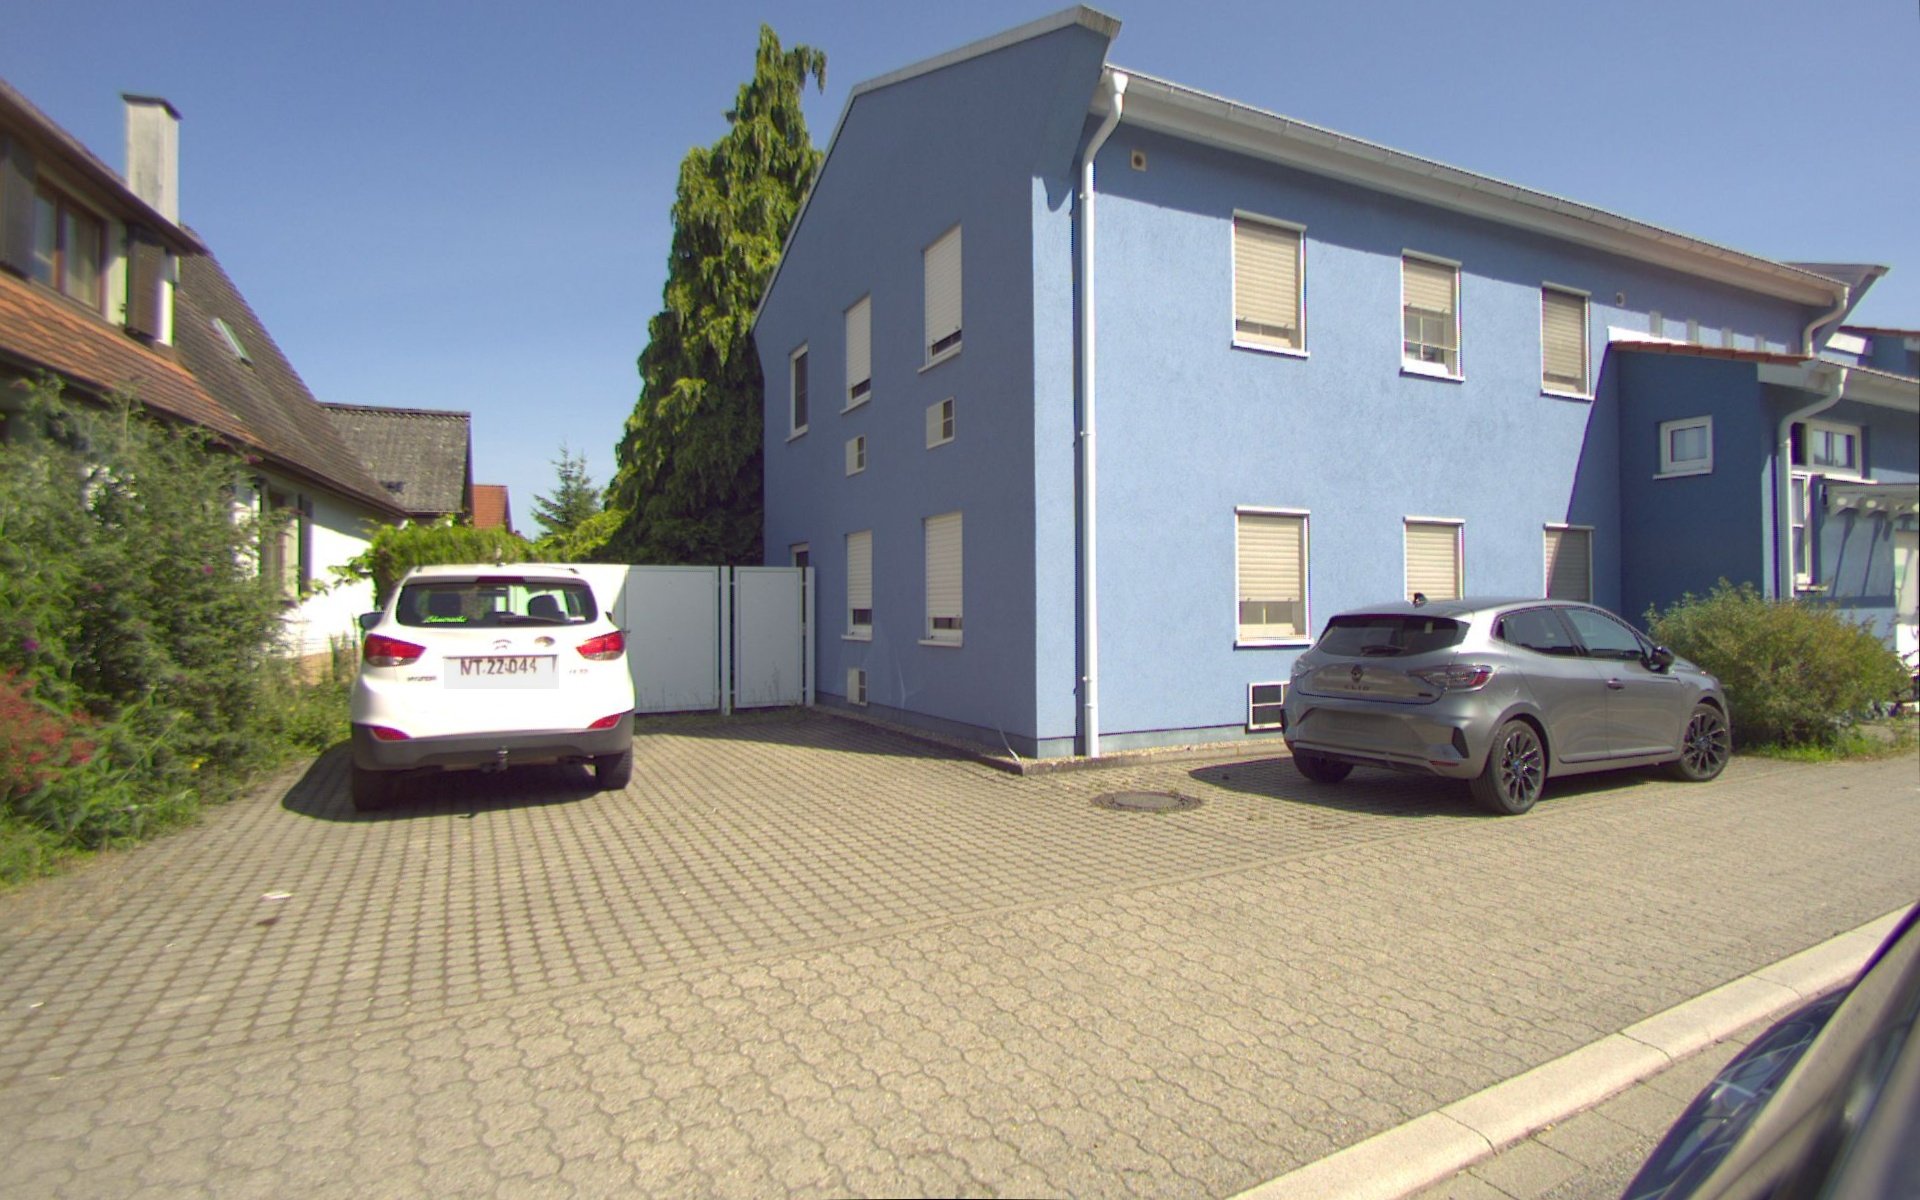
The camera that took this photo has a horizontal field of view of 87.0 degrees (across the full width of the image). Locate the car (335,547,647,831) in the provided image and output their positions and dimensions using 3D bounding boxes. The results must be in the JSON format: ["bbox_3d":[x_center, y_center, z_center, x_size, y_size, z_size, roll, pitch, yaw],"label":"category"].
[{"bbox_3d":[-3.802,0.509,8.280,1.775,1.678,4.195,-1,0,-25],"label":"car"}]

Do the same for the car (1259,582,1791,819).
[{"bbox_3d":[4.473,0.608,7.914,4.062,1.438,1.697,-1,-1,-29],"label":"car"}]

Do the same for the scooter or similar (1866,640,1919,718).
[{"bbox_3d":[11.001,0.894,11.540,0.810,0.825,0.731,-1,0,-24],"label":"scooter or similar"}]
